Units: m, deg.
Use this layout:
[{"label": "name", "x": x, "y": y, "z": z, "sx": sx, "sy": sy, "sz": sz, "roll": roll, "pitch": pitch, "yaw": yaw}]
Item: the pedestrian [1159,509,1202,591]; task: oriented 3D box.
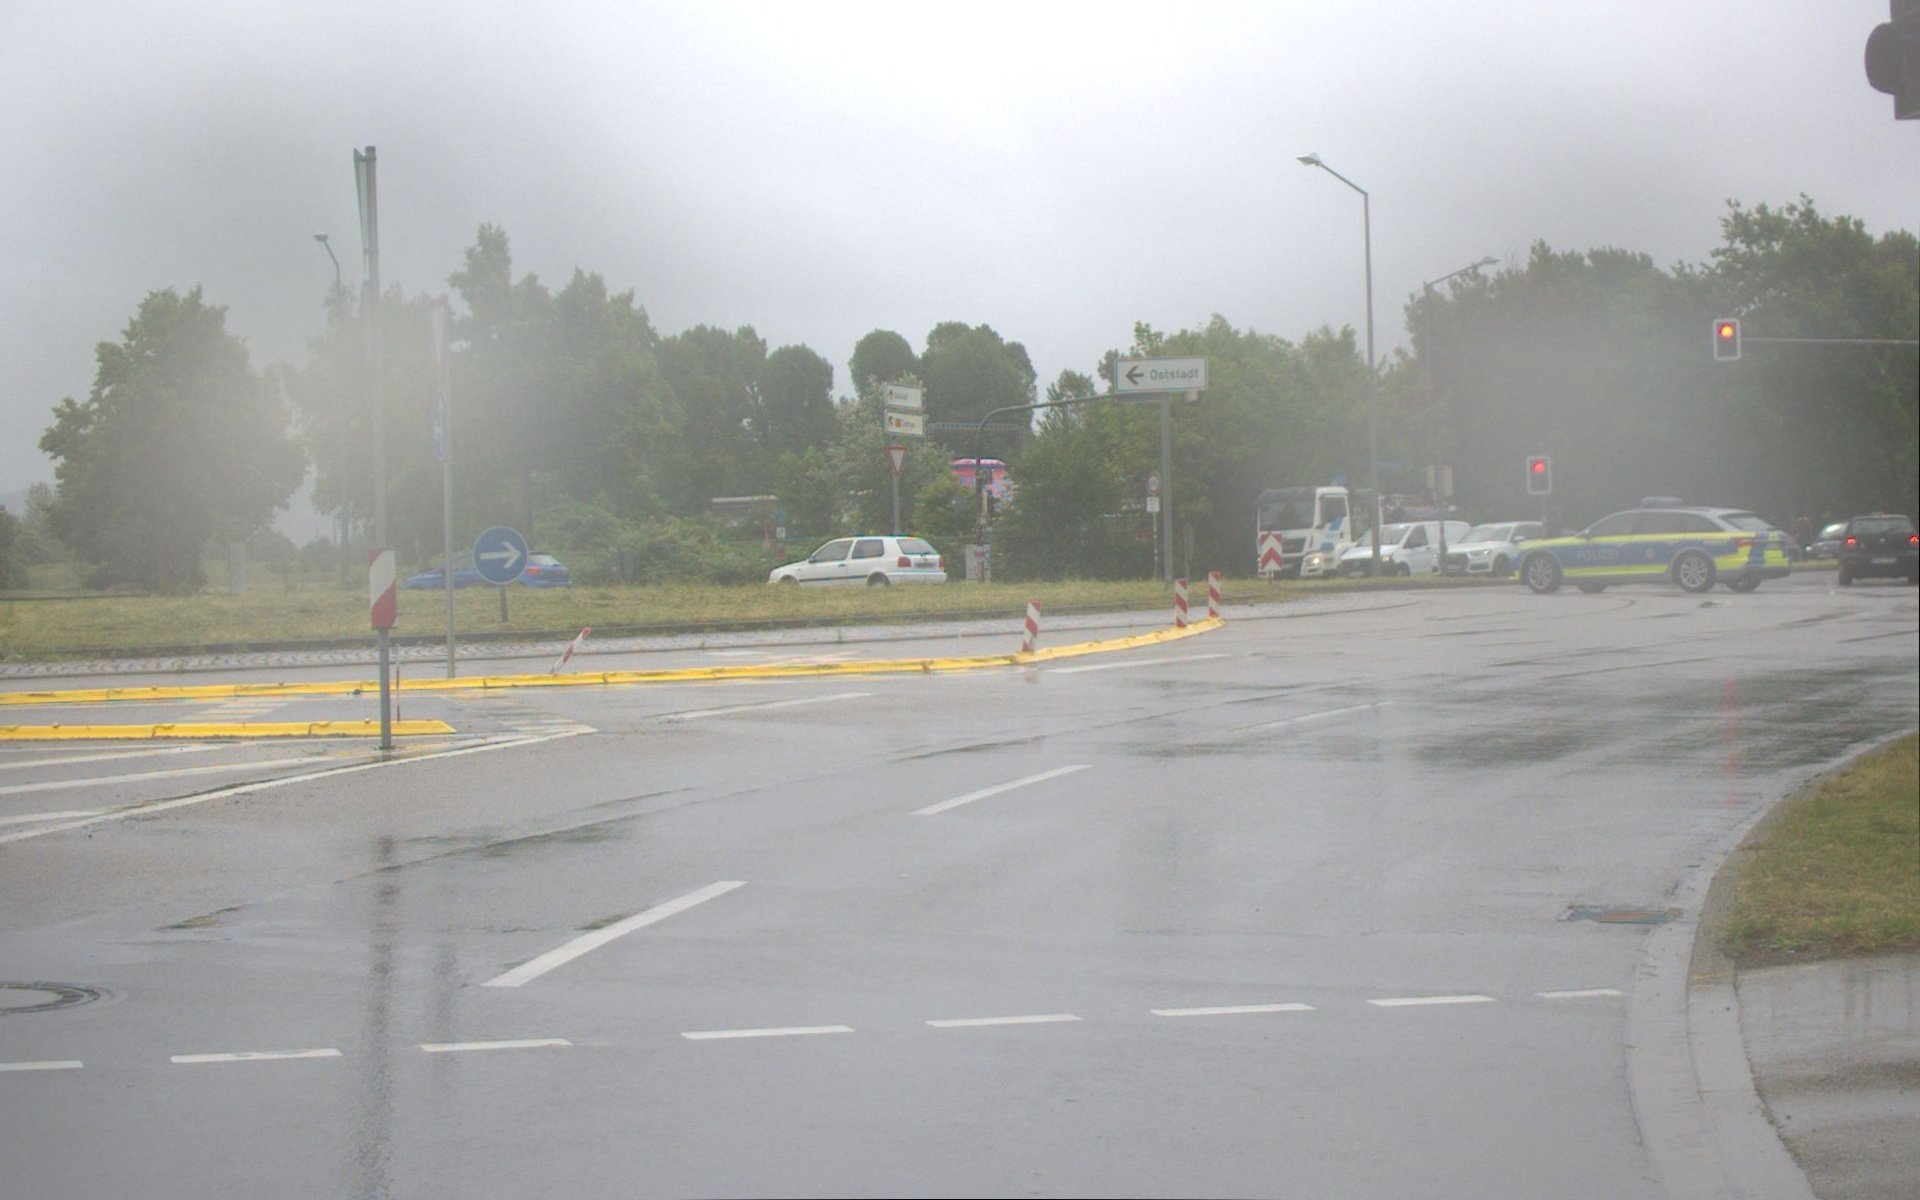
[{"label": "pedestrian", "x": 3.517, "y": -0.797, "z": 54.796, "sx": 0.453, "sy": 1.300, "sz": 0.485, "roll": 0, "pitch": 1, "yaw": 38}]

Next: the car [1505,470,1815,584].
[{"label": "car", "x": 11.914, "y": -1.237, "z": 58.684, "sx": 4.771, "sy": 1.845, "sz": 1.996, "roll": 0, "pitch": 1, "yaw": 39}]

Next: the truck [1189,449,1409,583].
[{"label": "truck", "x": 7.434, "y": -1.757, "z": 74.421, "sx": 2.464, "sy": 2.677, "sz": 8.049, "roll": 1, "pitch": 0, "yaw": 23}]

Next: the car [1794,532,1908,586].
[{"label": "car", "x": 28.962, "y": -1.324, "z": 111.695, "sx": 1.800, "sy": 1.656, "sz": 4.399, "roll": 1, "pitch": 0, "yaw": 41}]

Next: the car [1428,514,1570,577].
[{"label": "car", "x": 14.927, "y": -1.488, "z": 94.997, "sx": 1.800, "sy": 1.656, "sz": 4.399, "roll": 1, "pitch": 0, "yaw": 41}]

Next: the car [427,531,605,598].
[{"label": "car", "x": -10.119, "y": -0.799, "z": 78.324, "sx": 3.983, "sy": 1.449, "sz": 1.620, "roll": 0, "pitch": 1, "yaw": 36}]

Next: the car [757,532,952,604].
[{"label": "car", "x": -2.261, "y": -0.676, "z": 73.377, "sx": 3.982, "sy": 1.449, "sz": 1.620, "roll": 0, "pitch": 1, "yaw": 36}]

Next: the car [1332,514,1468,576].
[{"label": "car", "x": 12.381, "y": -1.535, "z": 96.616, "sx": 1.800, "sy": 1.656, "sz": 4.124, "roll": 1, "pitch": 0, "yaw": 41}]

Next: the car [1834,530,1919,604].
[{"label": "car", "x": 19.092, "y": -0.714, "z": 71.449, "sx": 1.619, "sy": 1.449, "sz": 3.986, "roll": -1, "pitch": 1, "yaw": 12}]
